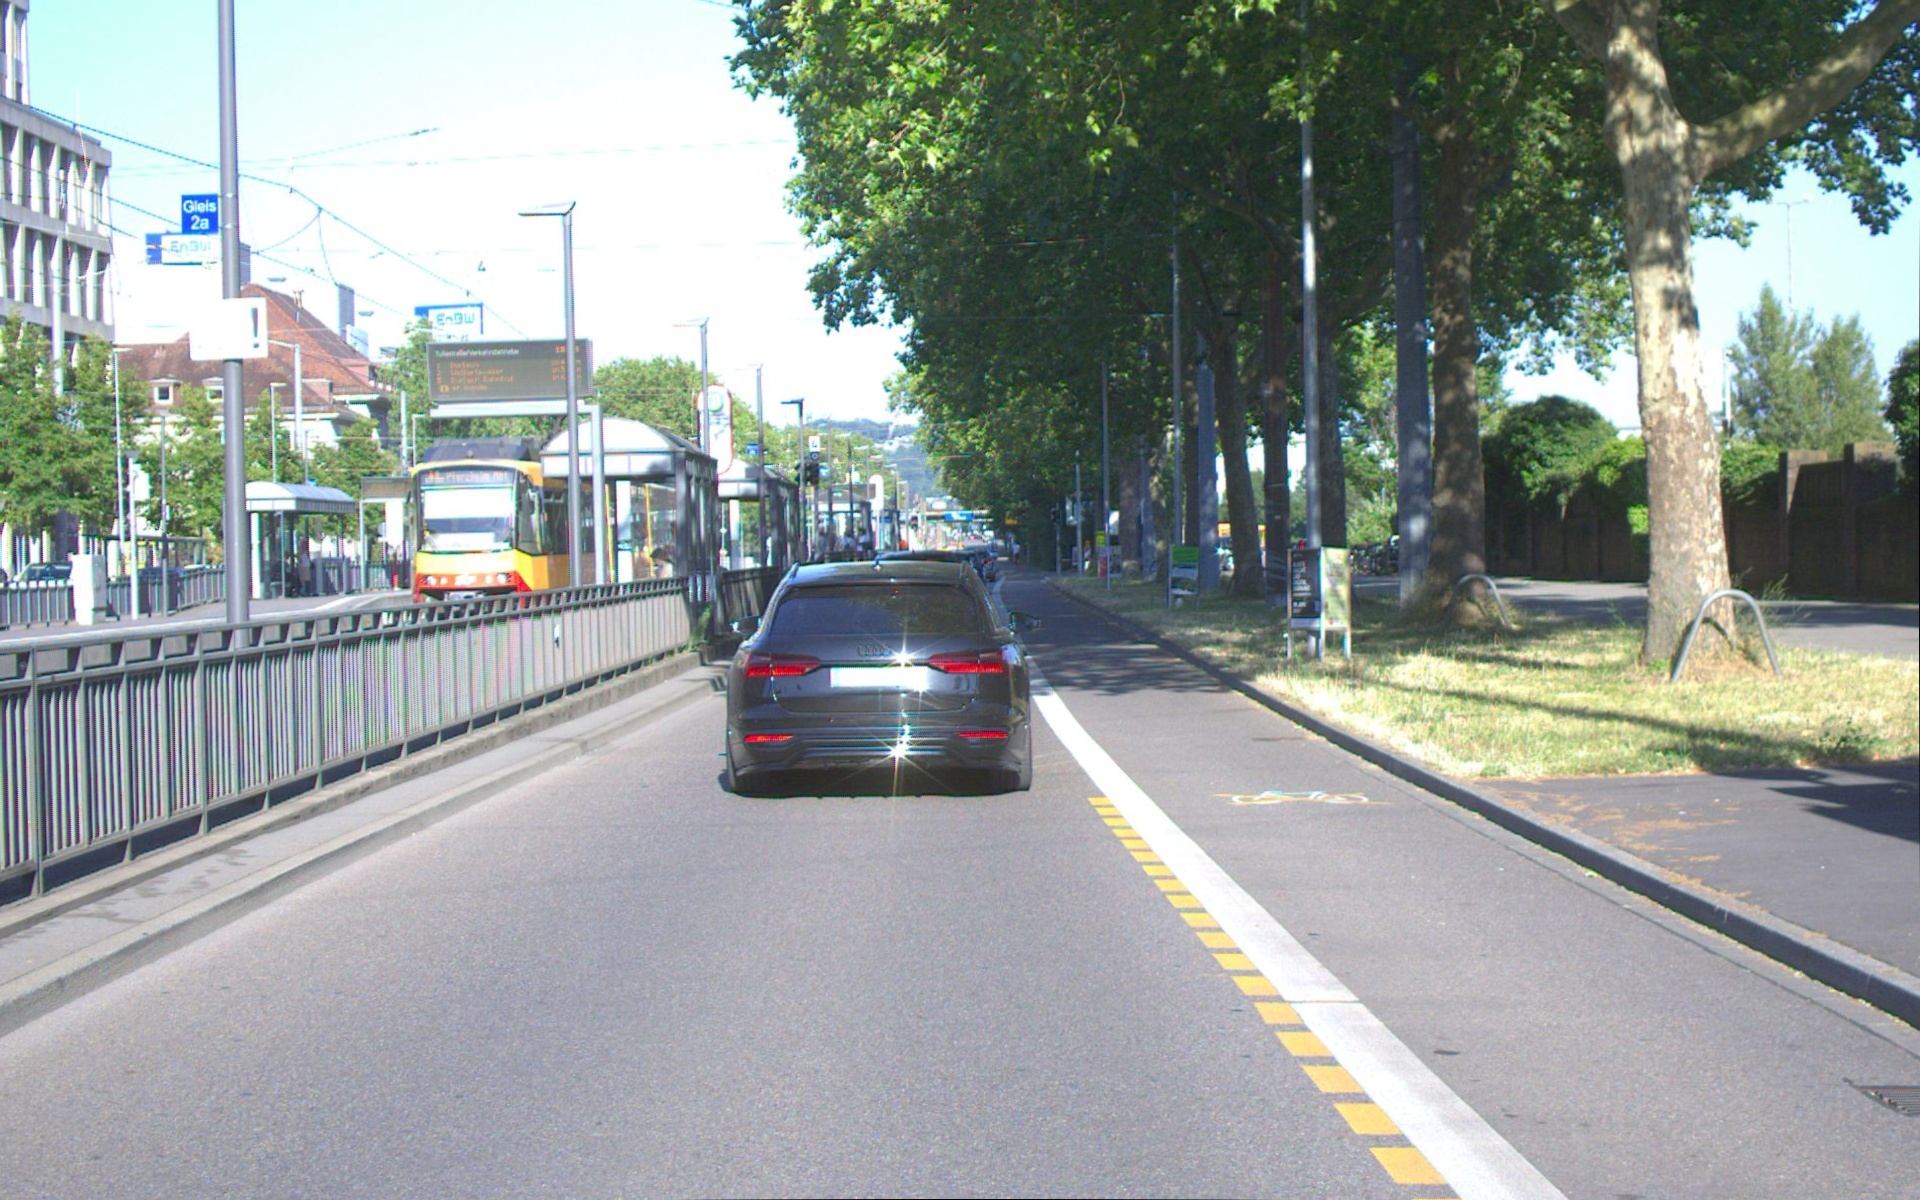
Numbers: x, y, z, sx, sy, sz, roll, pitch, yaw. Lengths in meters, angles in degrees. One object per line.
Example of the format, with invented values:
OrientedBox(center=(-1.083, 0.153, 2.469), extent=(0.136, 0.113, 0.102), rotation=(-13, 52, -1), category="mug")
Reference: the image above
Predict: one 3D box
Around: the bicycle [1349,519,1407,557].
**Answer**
OrientedBox(center=(13.431, -1.991, 110.466), extent=(1.773, 1.116, 0.439), rotation=(-2, 1, 0), category="bicycle")

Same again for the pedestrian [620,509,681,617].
OrientedBox(center=(-4.416, -0.531, 49.077), extent=(0.746, 1.503, 0.666), rotation=(-2, 1, 3), category="pedestrian")

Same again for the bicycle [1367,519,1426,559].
OrientedBox(center=(13.226, -1.848, 104.187), extent=(1.687, 1.116, 0.439), rotation=(-2, 1, 0), category="bicycle")

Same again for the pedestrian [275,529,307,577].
OrientedBox(center=(-17.621, -1.244, 90.577), extent=(0.614, 1.255, 0.724), rotation=(-1, 1, 4), category="pedestrian")

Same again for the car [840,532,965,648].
OrientedBox(center=(-0.879, -0.182, 51.216), extent=(1.762, 1.613, 4.001), rotation=(-1, 1, -2), category="car")

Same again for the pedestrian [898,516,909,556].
OrientedBox(center=(-2.480, -2.812, 151.025), extent=(0.412, 1.711, 0.666), rotation=(-1, 1, 0), category="pedestrian")

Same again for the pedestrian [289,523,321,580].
OrientedBox(center=(-17.714, -1.322, 93.018), extent=(0.614, 1.522, 0.724), rotation=(-1, 1, 9), category="pedestrian")

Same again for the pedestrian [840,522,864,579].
OrientedBox(center=(-3.190, -1.455, 101.610), extent=(0.611, 1.663, 0.613), rotation=(-1, 1, 2), category="pedestrian")

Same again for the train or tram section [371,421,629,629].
OrientedBox(center=(-9.268, -1.538, 71.278), extent=(3.309, 3.816, 14.220), rotation=(-1, 1, 0), category="train or tram section")

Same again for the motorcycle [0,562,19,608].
OrientedBox(center=(-21.495, -0.326, 76.386), extent=(0.604, 1.018, 1.841), rotation=(-1, 1, 1), category="motorcycle")

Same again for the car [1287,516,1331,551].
OrientedBox(center=(15.599, -2.955, 153.685), extent=(1.614, 1.510, 3.803), rotation=(-1, 1, 1), category="car")

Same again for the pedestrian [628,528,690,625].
OrientedBox(center=(-4.001, -0.320, 45.751), extent=(0.742, 1.269, 0.525), rotation=(-1, 1, 0), category="pedestrian")

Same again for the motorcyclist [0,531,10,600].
OrientedBox(center=(-21.495, -0.760, 76.251), extent=(0.575, 1.528, 0.765), rotation=(-1, 1, 1), category="motorcyclist")

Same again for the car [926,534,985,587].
OrientedBox(center=(-0.166, -1.272, 109.932), extent=(1.762, 1.613, 4.001), rotation=(-1, 1, -2), category="car")

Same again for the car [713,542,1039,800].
OrientedBox(center=(-0.545, 0.386, 21.862), extent=(1.878, 1.452, 3.357), rotation=(-1, 1, -2), category="car")
